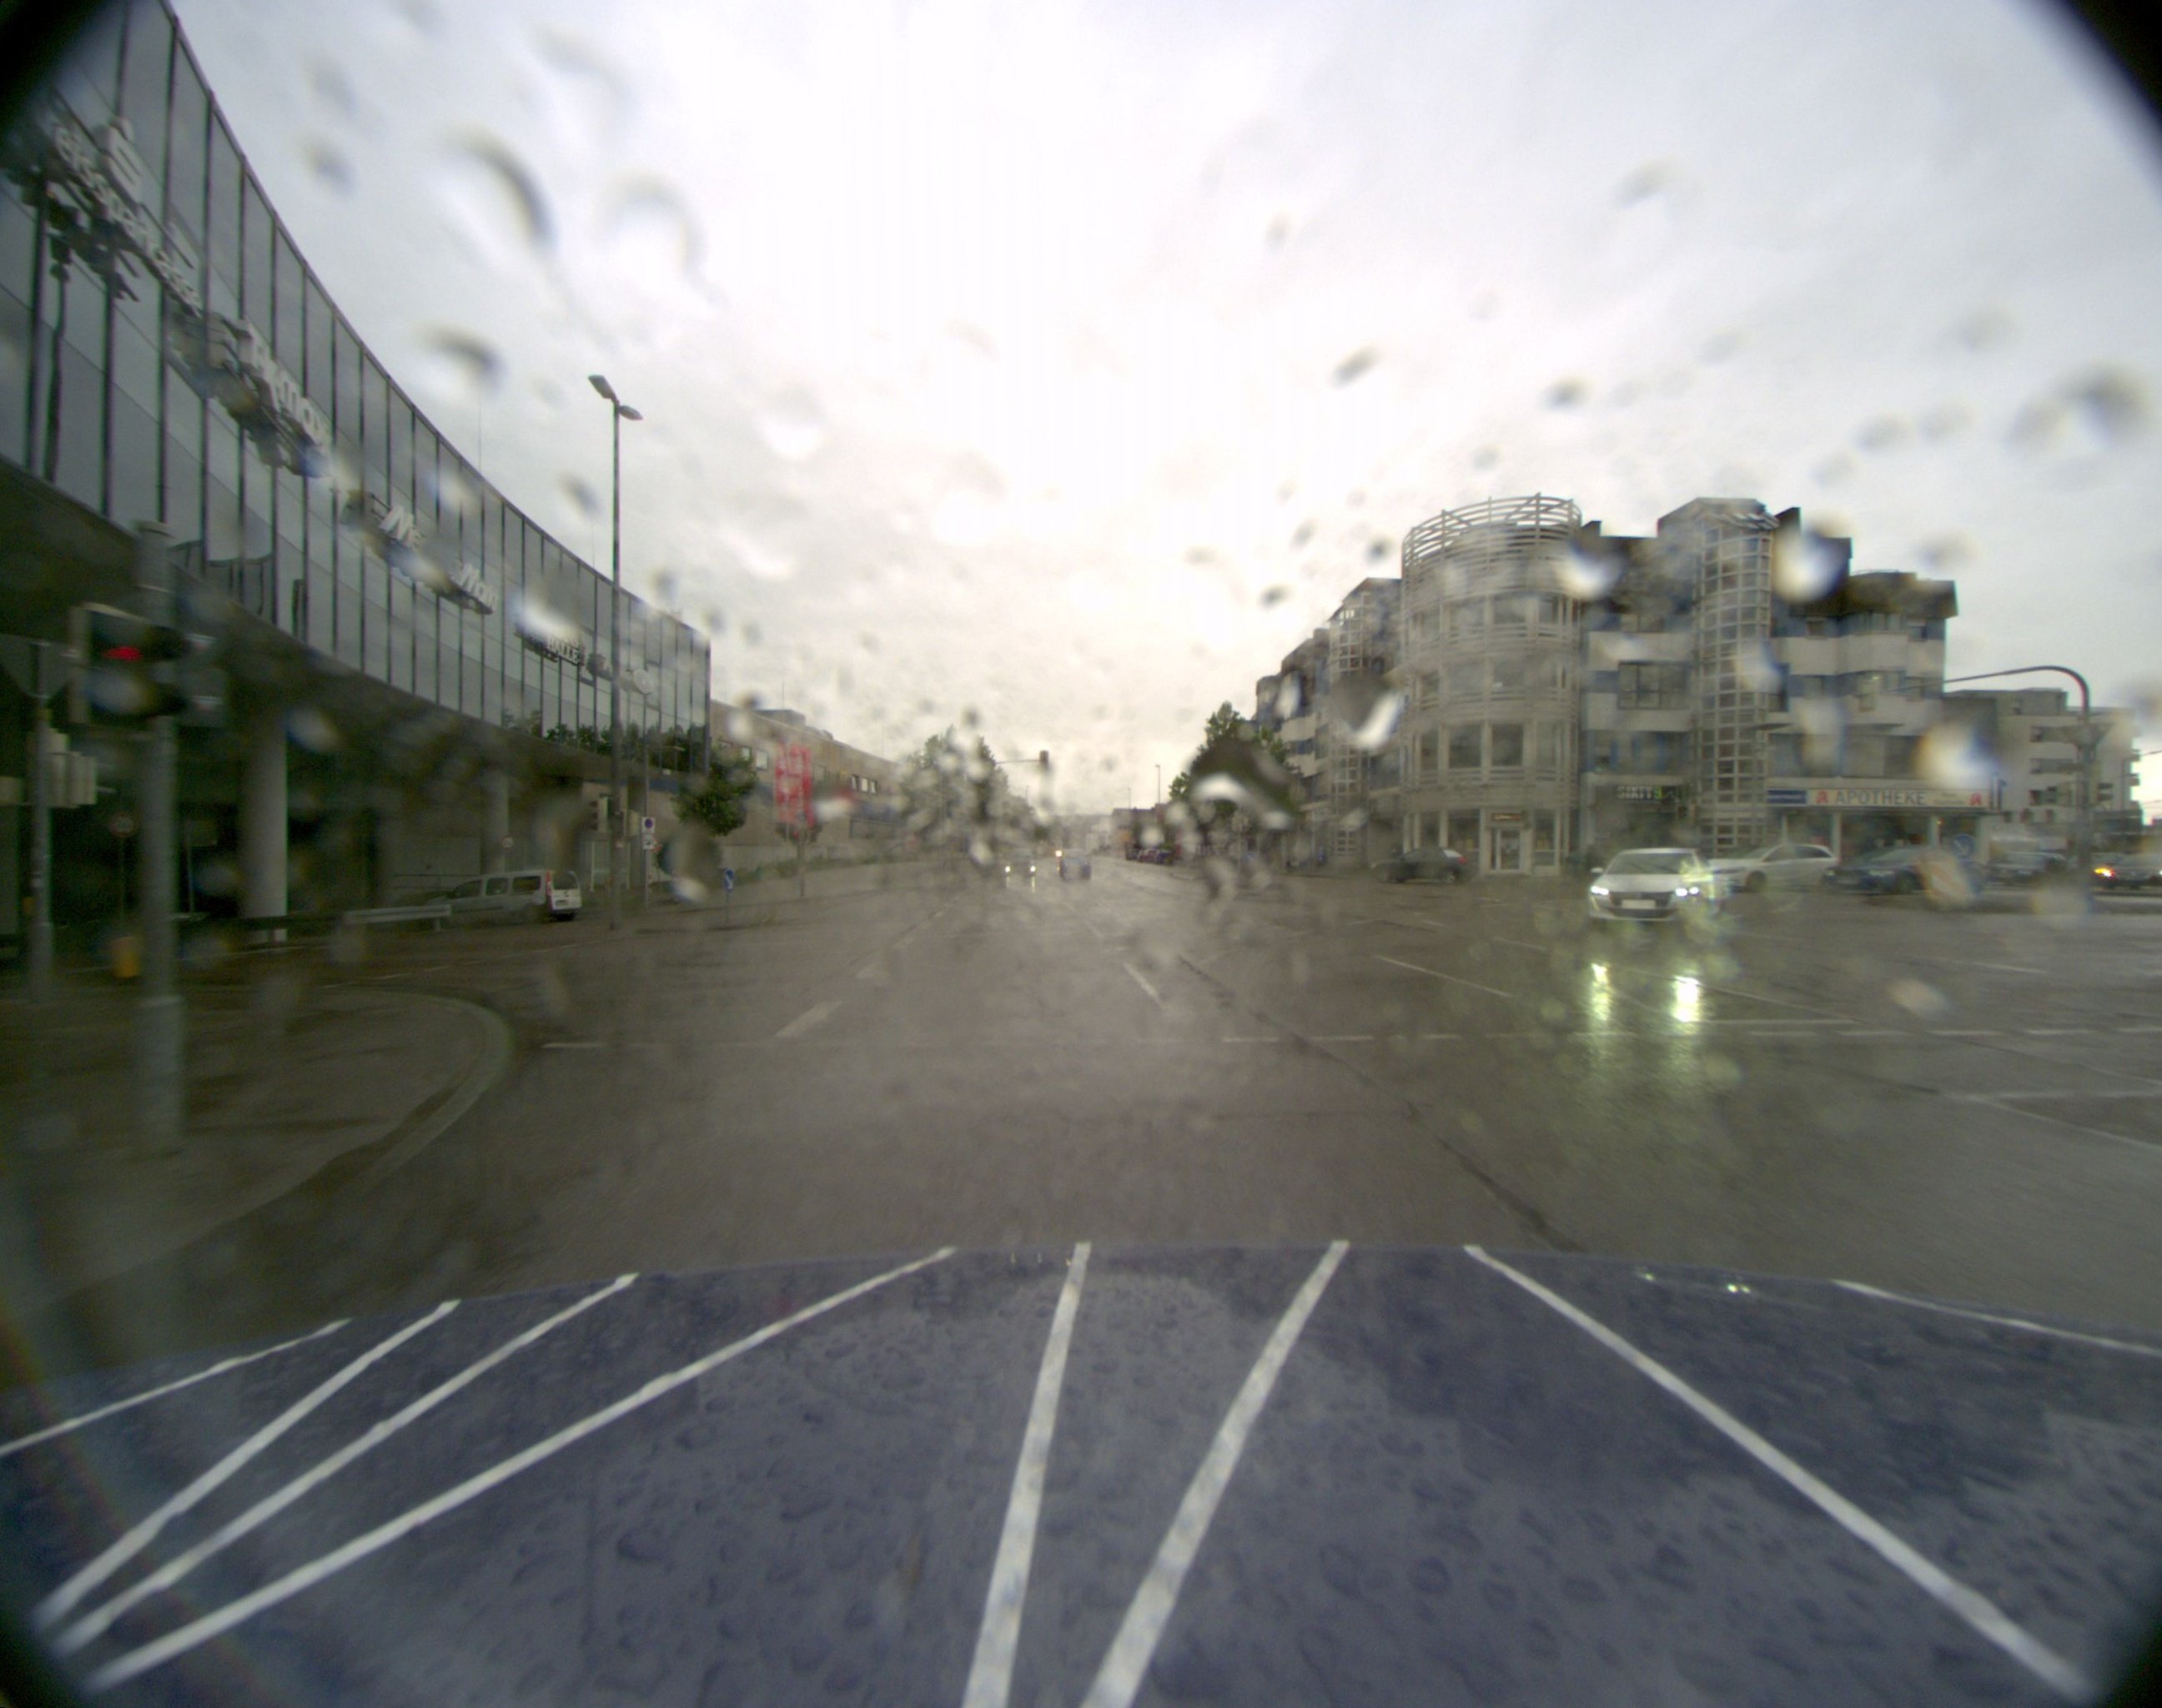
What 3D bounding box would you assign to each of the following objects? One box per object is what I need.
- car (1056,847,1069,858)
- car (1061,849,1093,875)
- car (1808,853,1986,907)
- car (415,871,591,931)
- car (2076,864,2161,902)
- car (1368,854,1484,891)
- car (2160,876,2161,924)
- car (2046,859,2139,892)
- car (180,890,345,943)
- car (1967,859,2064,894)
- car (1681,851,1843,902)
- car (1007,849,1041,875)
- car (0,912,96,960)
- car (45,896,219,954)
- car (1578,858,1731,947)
[{"bbox_3d":[-3.042,-0.227,124.390,1.998,1.765,4.001,0,-2,1],"label":"car"},{"bbox_3d":[-0.277,0.408,43.224,1.678,1.389,3.854,0,1,-2],"label":"car"},{"bbox_3d":[23.229,0.703,21.670,3.815,1.446,1.750,0,0,-12],"label":"car"},{"bbox_3d":[-19.022,1.508,25.170,4.293,1.787,1.932,-1,0,0],"label":"car"},{"bbox_3d":[41.271,1.094,29.557,3.976,1.360,1.799,0,0,-16],"label":"car"},{"bbox_3d":[14.243,0.755,31.482,4.035,1.435,1.739,-1,-1,42],"label":"car"},{"bbox_3d":[38.474,1.540,25.249,4.004,1.605,1.997,1,-2,-19],"label":"car"},{"bbox_3d":[45.709,0.963,34.325,4.005,1.416,1.656,1,0,-24],"label":"car"},{"bbox_3d":[-26.846,2.041,24.970,3.937,1.455,1.765,-3,0,10],"label":"car"},{"bbox_3d":[39.753,0.951,32.323,3.736,1.364,1.651,1,2,-24],"label":"car"},{"bbox_3d":[22.075,0.726,24.678,4.064,1.519,1.733,1,0,-9],"label":"car"},{"bbox_3d":[-3.251,0.418,44.092,1.743,1.387,3.695,0,1,-1],"label":"car"},{"bbox_3d":[-36.583,2.865,25.876,3.995,1.392,1.786,-4,0,6],"label":"car"},{"bbox_3d":[-31.781,2.365,25.492,4.257,1.602,1.639,-3,1,8],"label":"car"},{"bbox_3d":[10.959,0.807,14.426,3.904,1.401,1.739,0,0,-44],"label":"car"}]
